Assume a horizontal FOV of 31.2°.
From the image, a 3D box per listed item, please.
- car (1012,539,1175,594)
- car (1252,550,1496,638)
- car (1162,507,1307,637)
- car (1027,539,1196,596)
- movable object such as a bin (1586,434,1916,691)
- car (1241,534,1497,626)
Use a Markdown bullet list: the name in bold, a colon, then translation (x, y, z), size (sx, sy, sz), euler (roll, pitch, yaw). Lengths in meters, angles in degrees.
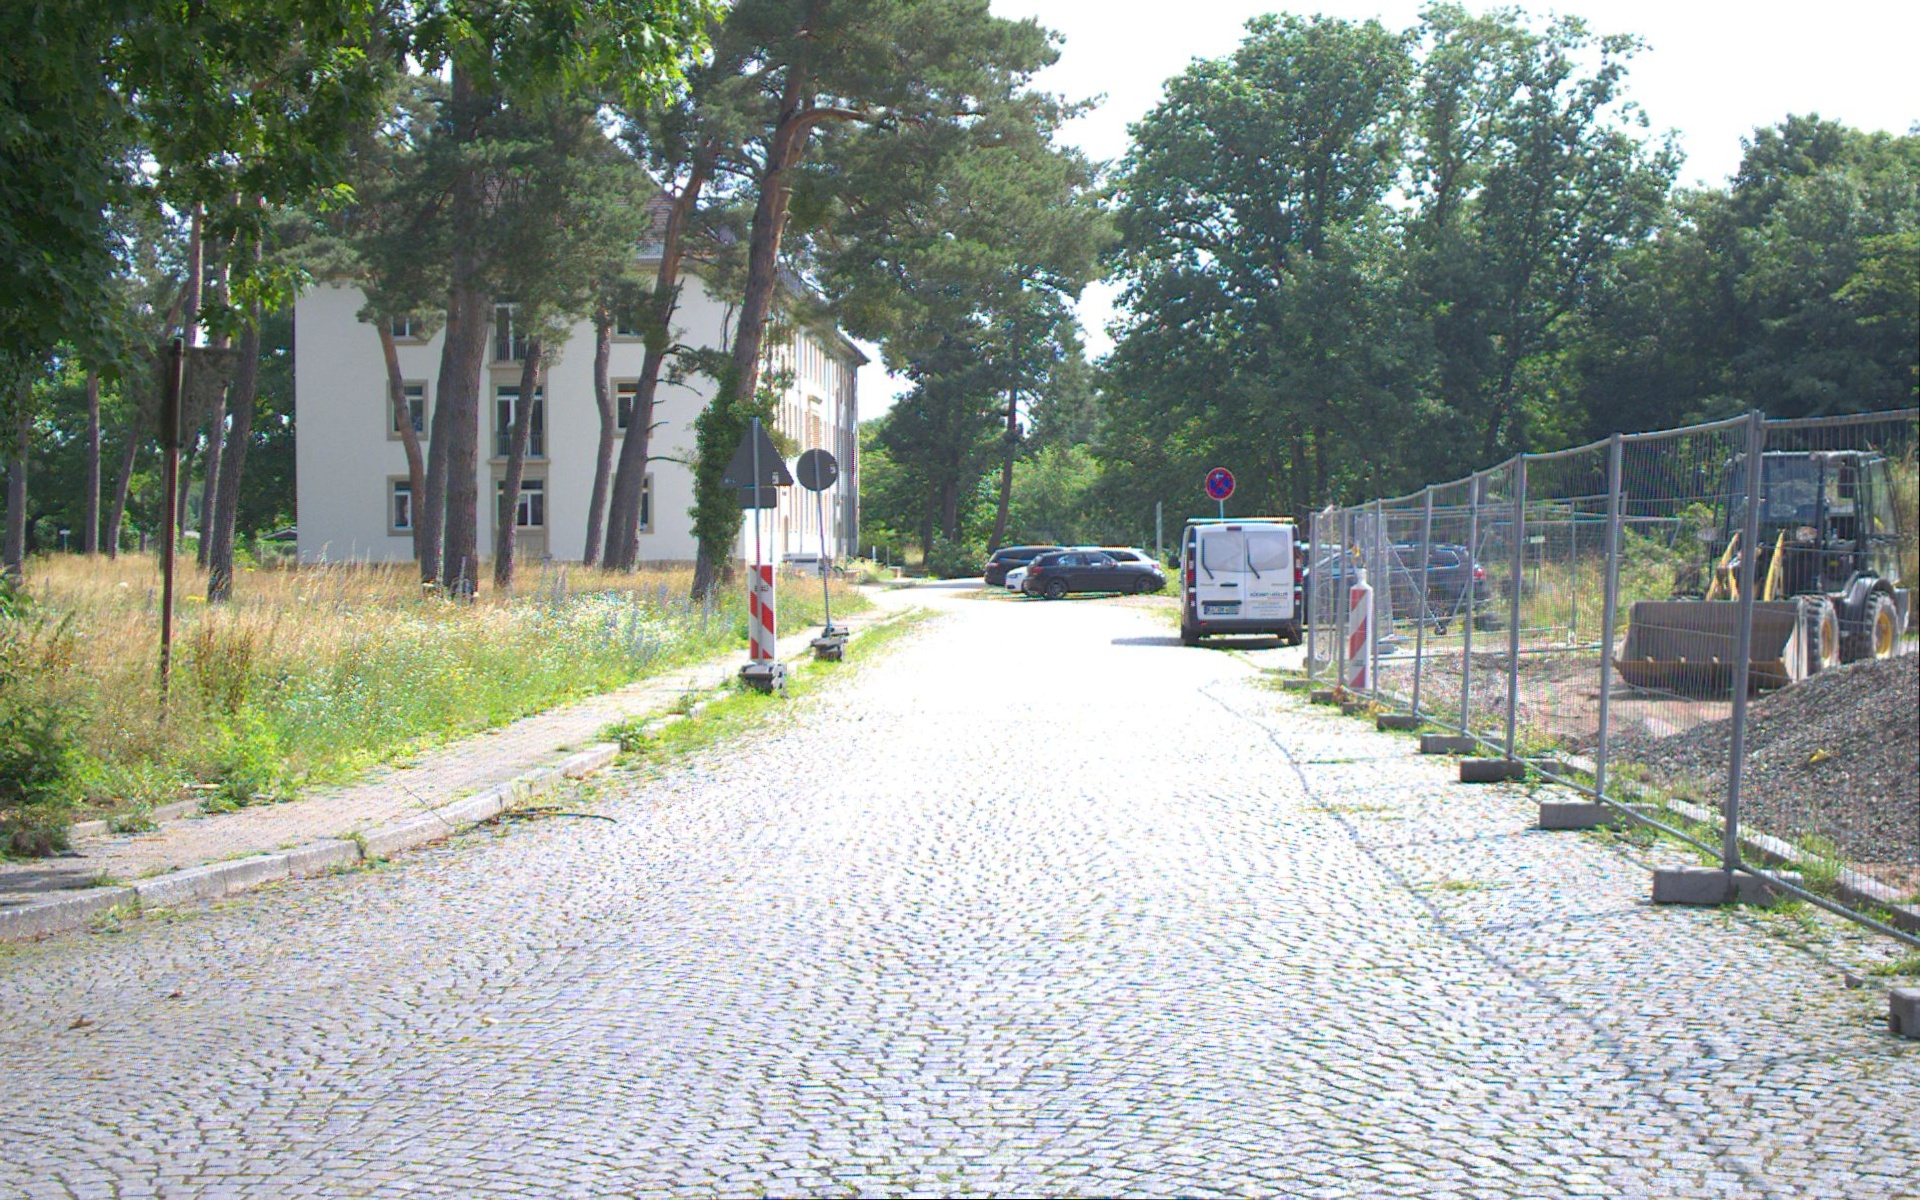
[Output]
- **car**: translation (4.062, -1.034, 105.278), size (4.779, 1.635, 2.000), euler (0, 1, -4)
- **car**: translation (7.718, -0.122, 63.893), size (4.404, 1.505, 1.999), euler (1, 1, 9)
- **car**: translation (4.376, -0.469, 55.381), size (1.993, 2.007, 4.091), euler (0, 1, 0)
- **car**: translation (4.473, -0.965, 101.893), size (4.779, 1.635, 2.000), euler (0, 1, -4)
- **movable object such as a bin**: translation (8.605, -0.424, 37.084), size (2.132, 2.584, 4.783), euler (1, 1, 30)
- **car**: translation (7.294, -0.367, 61.133), size (4.404, 1.505, 1.999), euler (1, 1, 9)
